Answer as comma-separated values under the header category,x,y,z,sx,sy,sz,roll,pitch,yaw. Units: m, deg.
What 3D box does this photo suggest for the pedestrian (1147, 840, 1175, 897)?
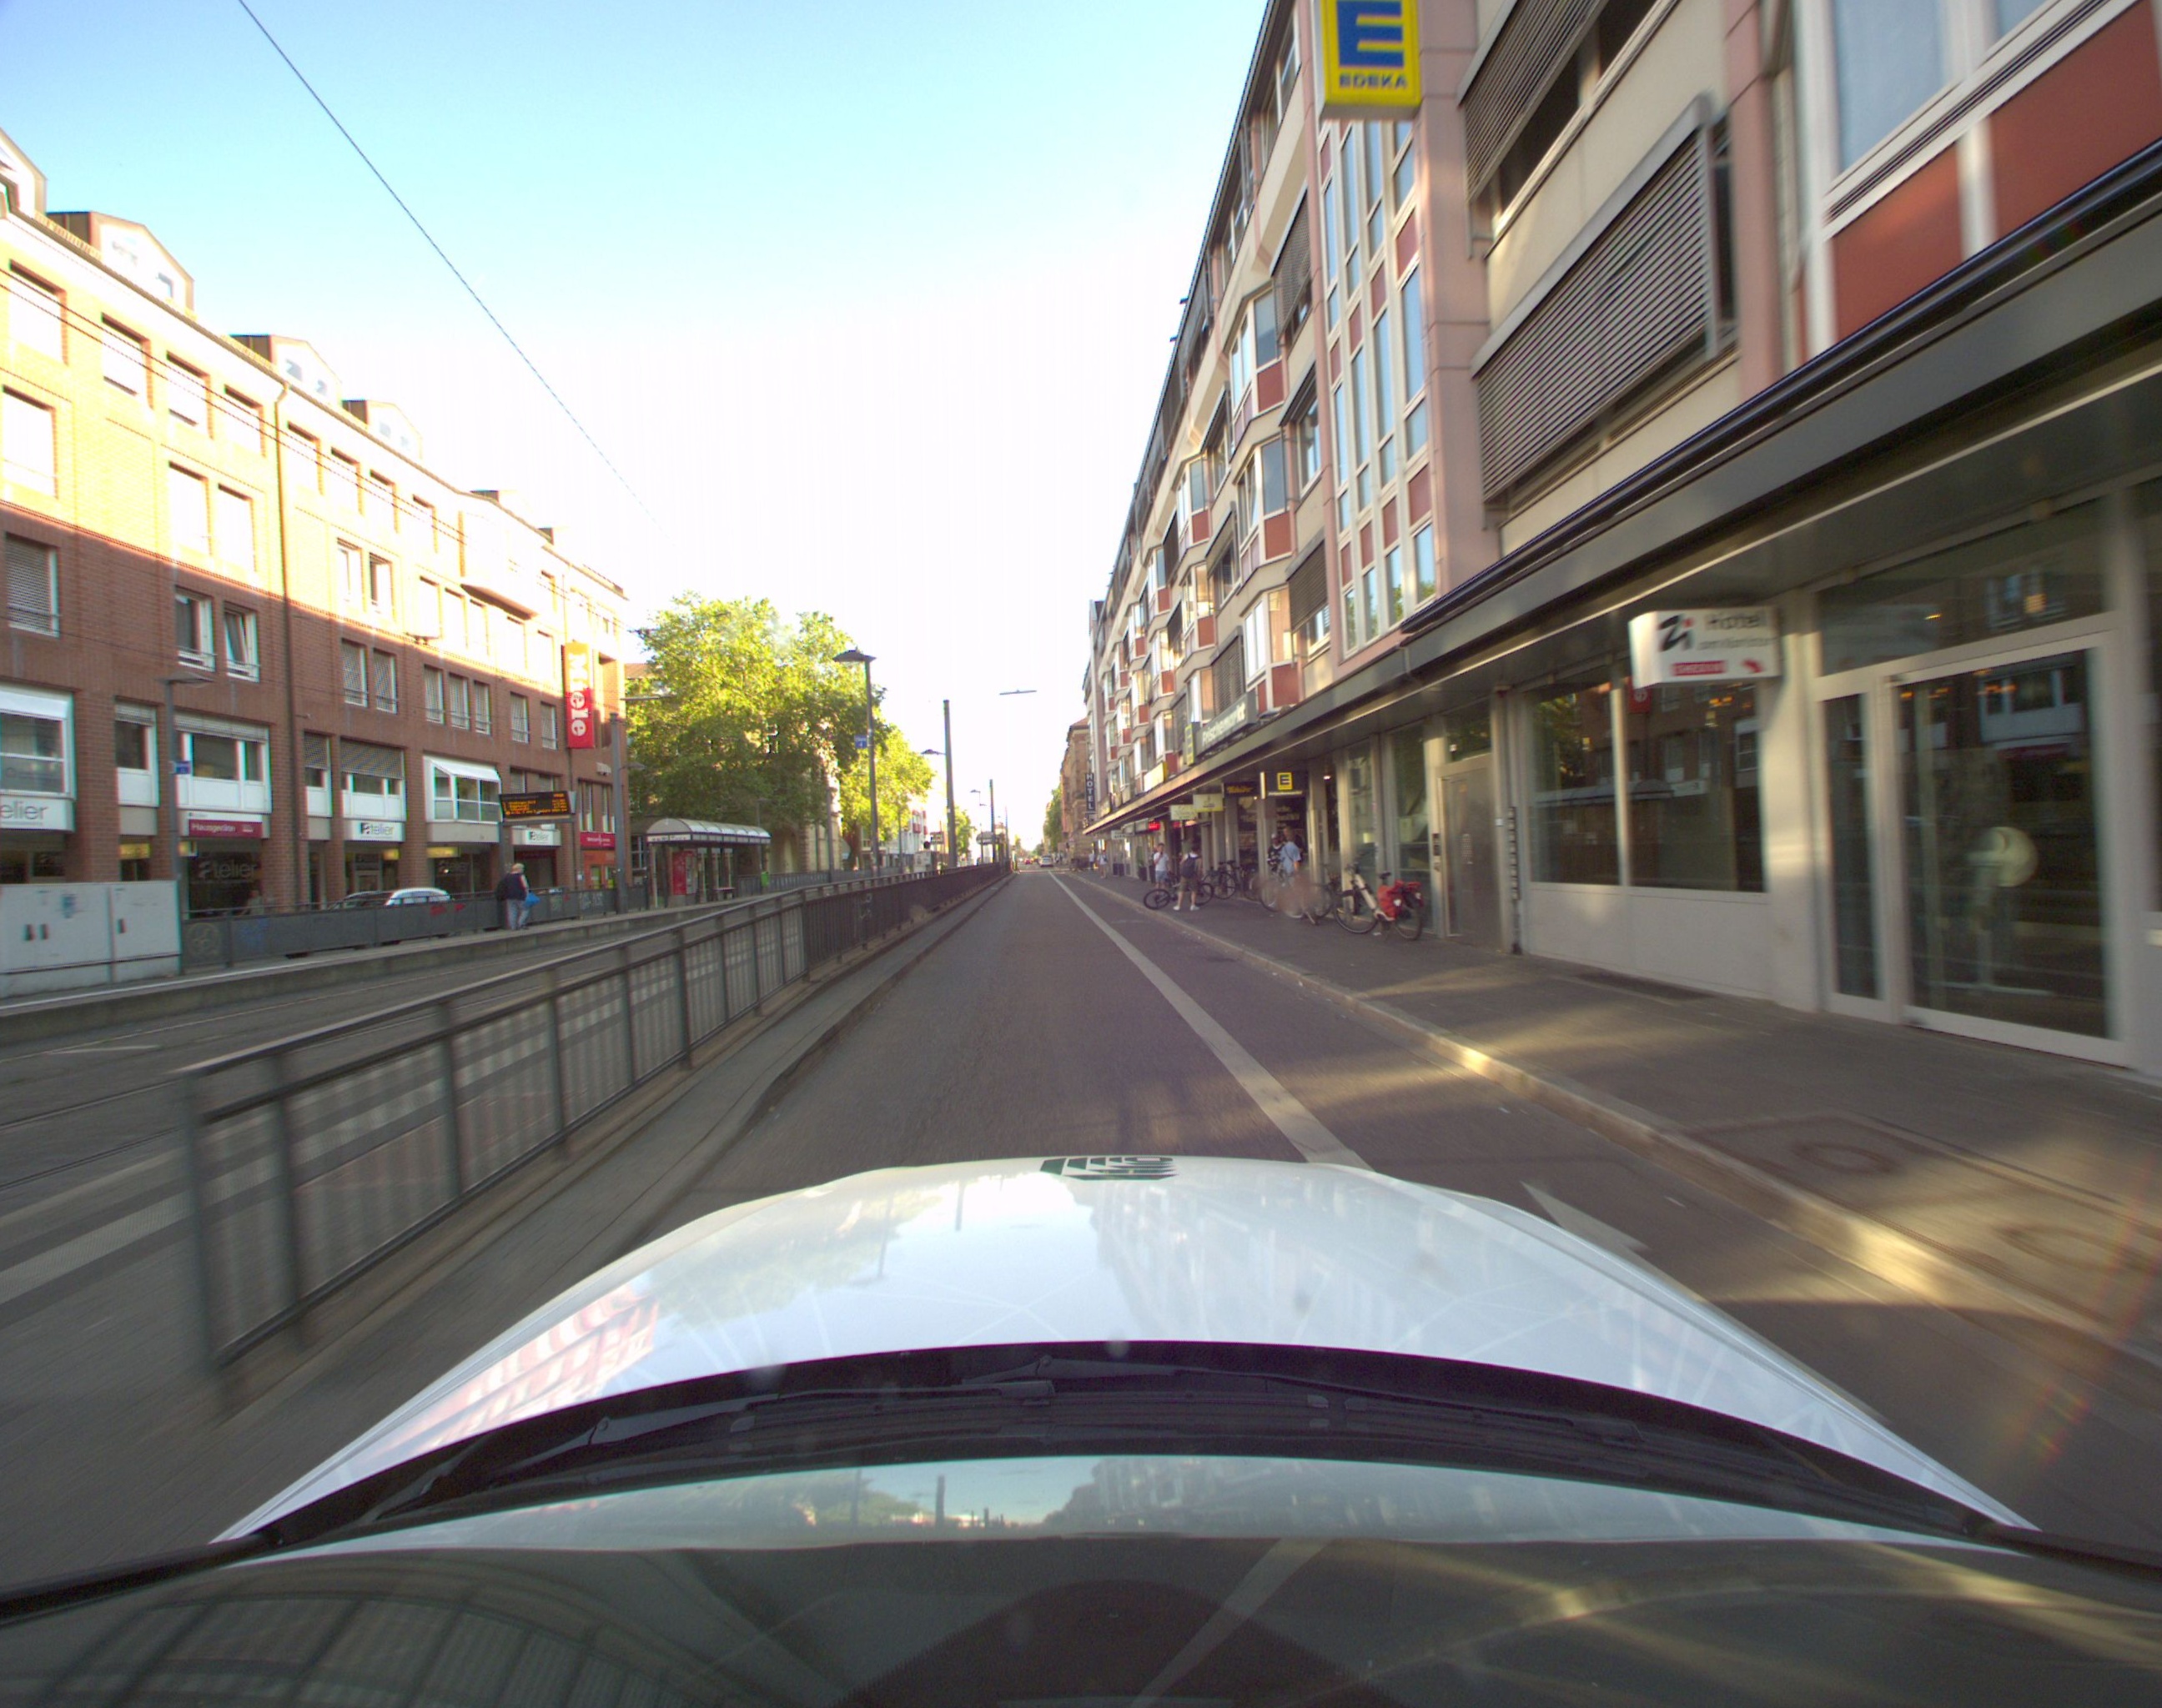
category,x,y,z,sx,sy,sz,roll,pitch,yaw
pedestrian,2.433,0.443,24.750,0.631,1.673,0.770,-4,-1,-4

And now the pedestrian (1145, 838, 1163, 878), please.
category,x,y,z,sx,sy,sz,roll,pitch,yaw
pedestrian,3.129,0.156,34.944,0.541,1.673,0.467,-4,-1,-12

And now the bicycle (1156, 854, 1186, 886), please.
category,x,y,z,sx,sy,sz,roll,pitch,yaw
bicycle,3.280,0.581,29.805,0.656,1.066,1.792,-7,0,-4

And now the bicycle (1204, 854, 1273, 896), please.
category,x,y,z,sx,sy,sz,roll,pitch,yaw
bicycle,4.318,0.584,22.422,1.724,0.973,0.506,-6,0,1

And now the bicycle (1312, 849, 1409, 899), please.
category,x,y,z,sx,sy,sz,roll,pitch,yaw
bicycle,6.185,0.426,18.037,1.922,0.938,0.575,-5,0,-7

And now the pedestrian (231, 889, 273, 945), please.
category,x,y,z,sx,sy,sz,roll,pitch,yaw
pedestrian,-25.718,1.947,25.277,0.611,1.662,0.635,-3,0,-9

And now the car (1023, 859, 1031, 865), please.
category,x,y,z,sx,sy,sz,roll,pitch,yaw
car,-15.505,2.311,233.602,2.037,1.674,4.869,-2,0,-4

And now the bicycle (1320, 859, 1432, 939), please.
category,x,y,z,sx,sy,sz,roll,pitch,yaw
bicycle,4.197,0.602,11.748,0.675,0.976,1.839,-7,0,-6

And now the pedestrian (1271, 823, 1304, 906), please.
category,x,y,z,sx,sy,sz,roll,pitch,yaw
pedestrian,4.122,0.199,16.228,0.403,1.595,0.464,-6,0,24

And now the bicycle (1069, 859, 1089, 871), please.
category,x,y,z,sx,sy,sz,roll,pitch,yaw
bicycle,-0.183,1.050,76.517,1.832,1.054,0.716,-3,0,-7

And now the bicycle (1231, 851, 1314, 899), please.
category,x,y,z,sx,sy,sz,roll,pitch,yaw
bicycle,4.881,0.528,20.772,1.922,1.060,0.575,-5,0,-7

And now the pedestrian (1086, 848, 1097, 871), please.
category,x,y,z,sx,sy,sz,roll,pitch,yaw
pedestrian,0.897,0.459,69.399,0.811,1.884,0.776,1,-1,-2

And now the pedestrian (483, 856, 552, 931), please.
category,x,y,z,sx,sy,sz,roll,pitch,yaw
pedestrian,-13.243,0.907,19.164,0.909,1.662,0.966,-3,0,-5

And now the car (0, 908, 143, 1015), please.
category,x,y,z,sx,sy,sz,roll,pitch,yaw
car,-18.736,1.908,13.369,1.889,1.600,4.190,-4,1,-5

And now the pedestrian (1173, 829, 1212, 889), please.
category,x,y,z,sx,sy,sz,roll,pitch,yaw
pedestrian,3.689,0.181,27.014,0.913,1.866,0.777,-7,0,-7

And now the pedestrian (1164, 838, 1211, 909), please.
category,x,y,z,sx,sy,sz,roll,pitch,yaw
pedestrian,2.630,0.482,20.131,0.777,1.663,0.913,-5,0,-12

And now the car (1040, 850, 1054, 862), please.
category,x,y,z,sx,sy,sz,roll,pitch,yaw
car,-5.242,0.352,125.362,1.962,1.771,4.870,-2,0,-2

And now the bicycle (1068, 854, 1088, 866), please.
category,x,y,z,sx,sy,sz,roll,pitch,yaw
bicycle,-0.275,0.608,78.191,1.832,1.054,0.709,-3,0,-7

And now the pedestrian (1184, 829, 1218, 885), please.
category,x,y,z,sx,sy,sz,roll,pitch,yaw
pedestrian,4.156,0.104,28.153,0.780,1.866,0.682,-4,-1,-24

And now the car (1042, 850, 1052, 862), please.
category,x,y,z,sx,sy,sz,roll,pitch,yaw
car,-6.127,0.434,148.015,1.700,2.120,3.705,-2,-1,0

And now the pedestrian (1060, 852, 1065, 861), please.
category,x,y,z,sx,sy,sz,roll,pitch,yaw
pedestrian,-3.301,0.375,148.073,0.774,1.567,0.913,-6,0,-2

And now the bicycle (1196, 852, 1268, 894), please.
category,x,y,z,sx,sy,sz,roll,pitch,yaw
bicycle,4.408,0.561,23.873,1.920,1.060,0.575,-5,0,-4

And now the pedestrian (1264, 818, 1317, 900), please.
category,x,y,z,sx,sy,sz,roll,pitch,yaw
pedestrian,4.757,0.112,18.501,0.737,1.816,0.797,-3,0,-41

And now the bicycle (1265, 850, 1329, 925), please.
category,x,y,z,sx,sy,sz,roll,pitch,yaw
bicycle,3.829,0.558,14.575,0.795,1.175,1.636,-6,0,8

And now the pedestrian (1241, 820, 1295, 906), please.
category,x,y,z,sx,sy,sz,roll,pitch,yaw
pedestrian,4.108,0.195,17.869,0.737,1.816,0.797,-3,0,-41

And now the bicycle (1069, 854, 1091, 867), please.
category,x,y,z,sx,sy,sz,roll,pitch,yaw
bicycle,-0.111,0.578,75.796,1.968,1.104,0.613,-3,0,-7

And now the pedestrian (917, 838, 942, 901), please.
category,x,y,z,sx,sy,sz,roll,pitch,yaw
pedestrian,-4.417,0.459,23.761,0.582,1.791,0.605,-3,-1,-5

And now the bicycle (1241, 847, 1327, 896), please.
category,x,y,z,sx,sy,sz,roll,pitch,yaw
bicycle,5.013,0.426,20.125,1.922,1.060,0.575,-5,0,-7

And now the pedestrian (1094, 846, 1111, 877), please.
category,x,y,z,sx,sy,sz,roll,pitch,yaw
pedestrian,1.256,0.460,48.075,0.796,1.722,1.060,-6,-1,-2

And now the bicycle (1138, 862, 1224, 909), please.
category,x,y,z,sx,sy,sz,roll,pitch,yaw
bicycle,2.533,0.783,20.756,2.016,0.973,0.658,-6,0,-1

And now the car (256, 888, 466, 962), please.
category,x,y,z,sx,sy,sz,roll,pitch,yaw
car,-19.204,1.818,22.032,1.905,1.594,4.285,-4,-1,-3

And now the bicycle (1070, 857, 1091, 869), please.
category,x,y,z,sx,sy,sz,roll,pitch,yaw
bicycle,-0.044,0.816,75.142,1.911,1.047,0.679,-3,0,-7

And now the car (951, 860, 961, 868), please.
category,x,y,z,sx,sy,sz,roll,pitch,yaw
car,-27.936,2.295,181.604,1.867,1.600,4.245,-2,0,-6
